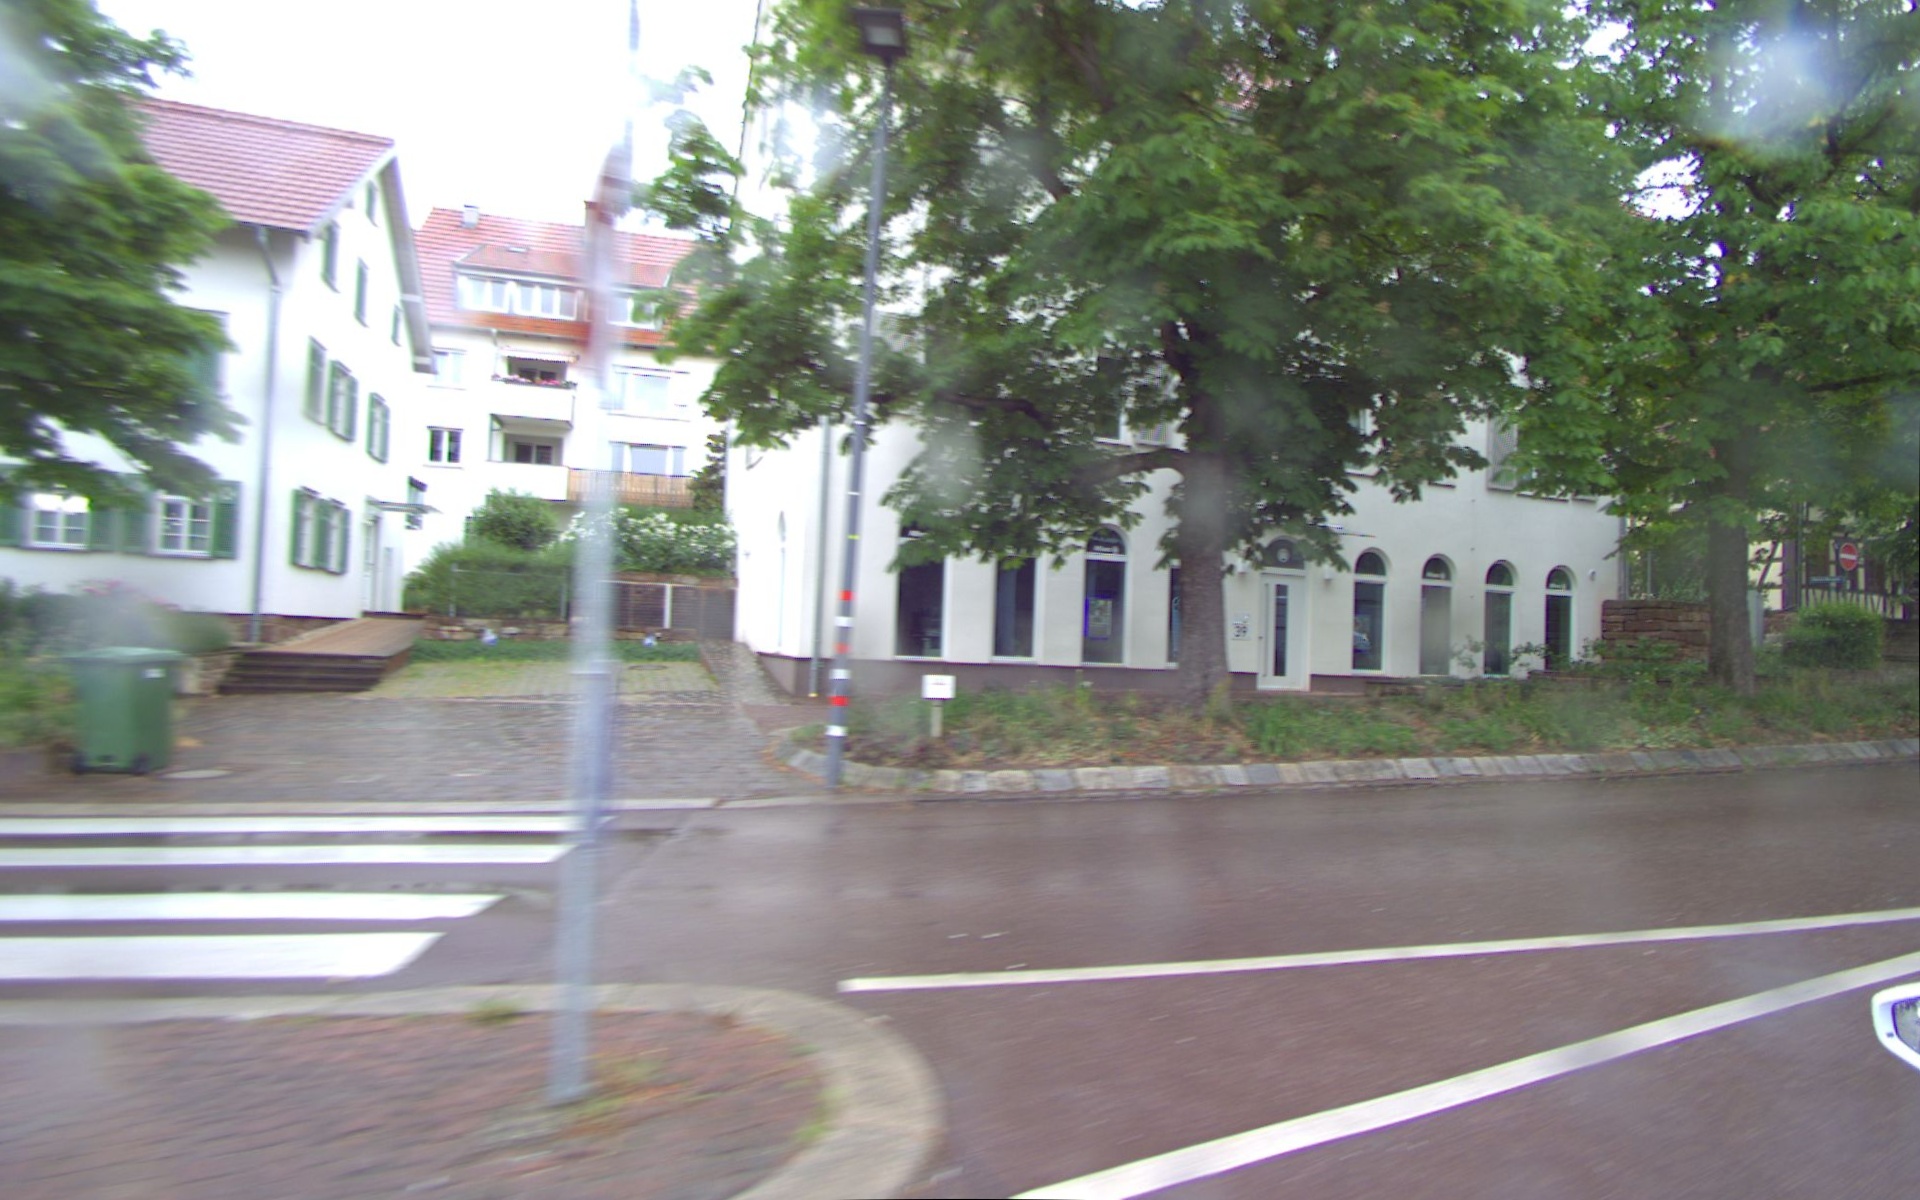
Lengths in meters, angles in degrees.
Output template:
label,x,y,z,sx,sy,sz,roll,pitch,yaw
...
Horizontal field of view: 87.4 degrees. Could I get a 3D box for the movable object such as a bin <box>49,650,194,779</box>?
label,x,y,z,sx,sy,sz,roll,pitch,yaw
movable object such as a bin,-7.255,0.976,8.723,0.685,1.073,0.636,1,-2,-5
